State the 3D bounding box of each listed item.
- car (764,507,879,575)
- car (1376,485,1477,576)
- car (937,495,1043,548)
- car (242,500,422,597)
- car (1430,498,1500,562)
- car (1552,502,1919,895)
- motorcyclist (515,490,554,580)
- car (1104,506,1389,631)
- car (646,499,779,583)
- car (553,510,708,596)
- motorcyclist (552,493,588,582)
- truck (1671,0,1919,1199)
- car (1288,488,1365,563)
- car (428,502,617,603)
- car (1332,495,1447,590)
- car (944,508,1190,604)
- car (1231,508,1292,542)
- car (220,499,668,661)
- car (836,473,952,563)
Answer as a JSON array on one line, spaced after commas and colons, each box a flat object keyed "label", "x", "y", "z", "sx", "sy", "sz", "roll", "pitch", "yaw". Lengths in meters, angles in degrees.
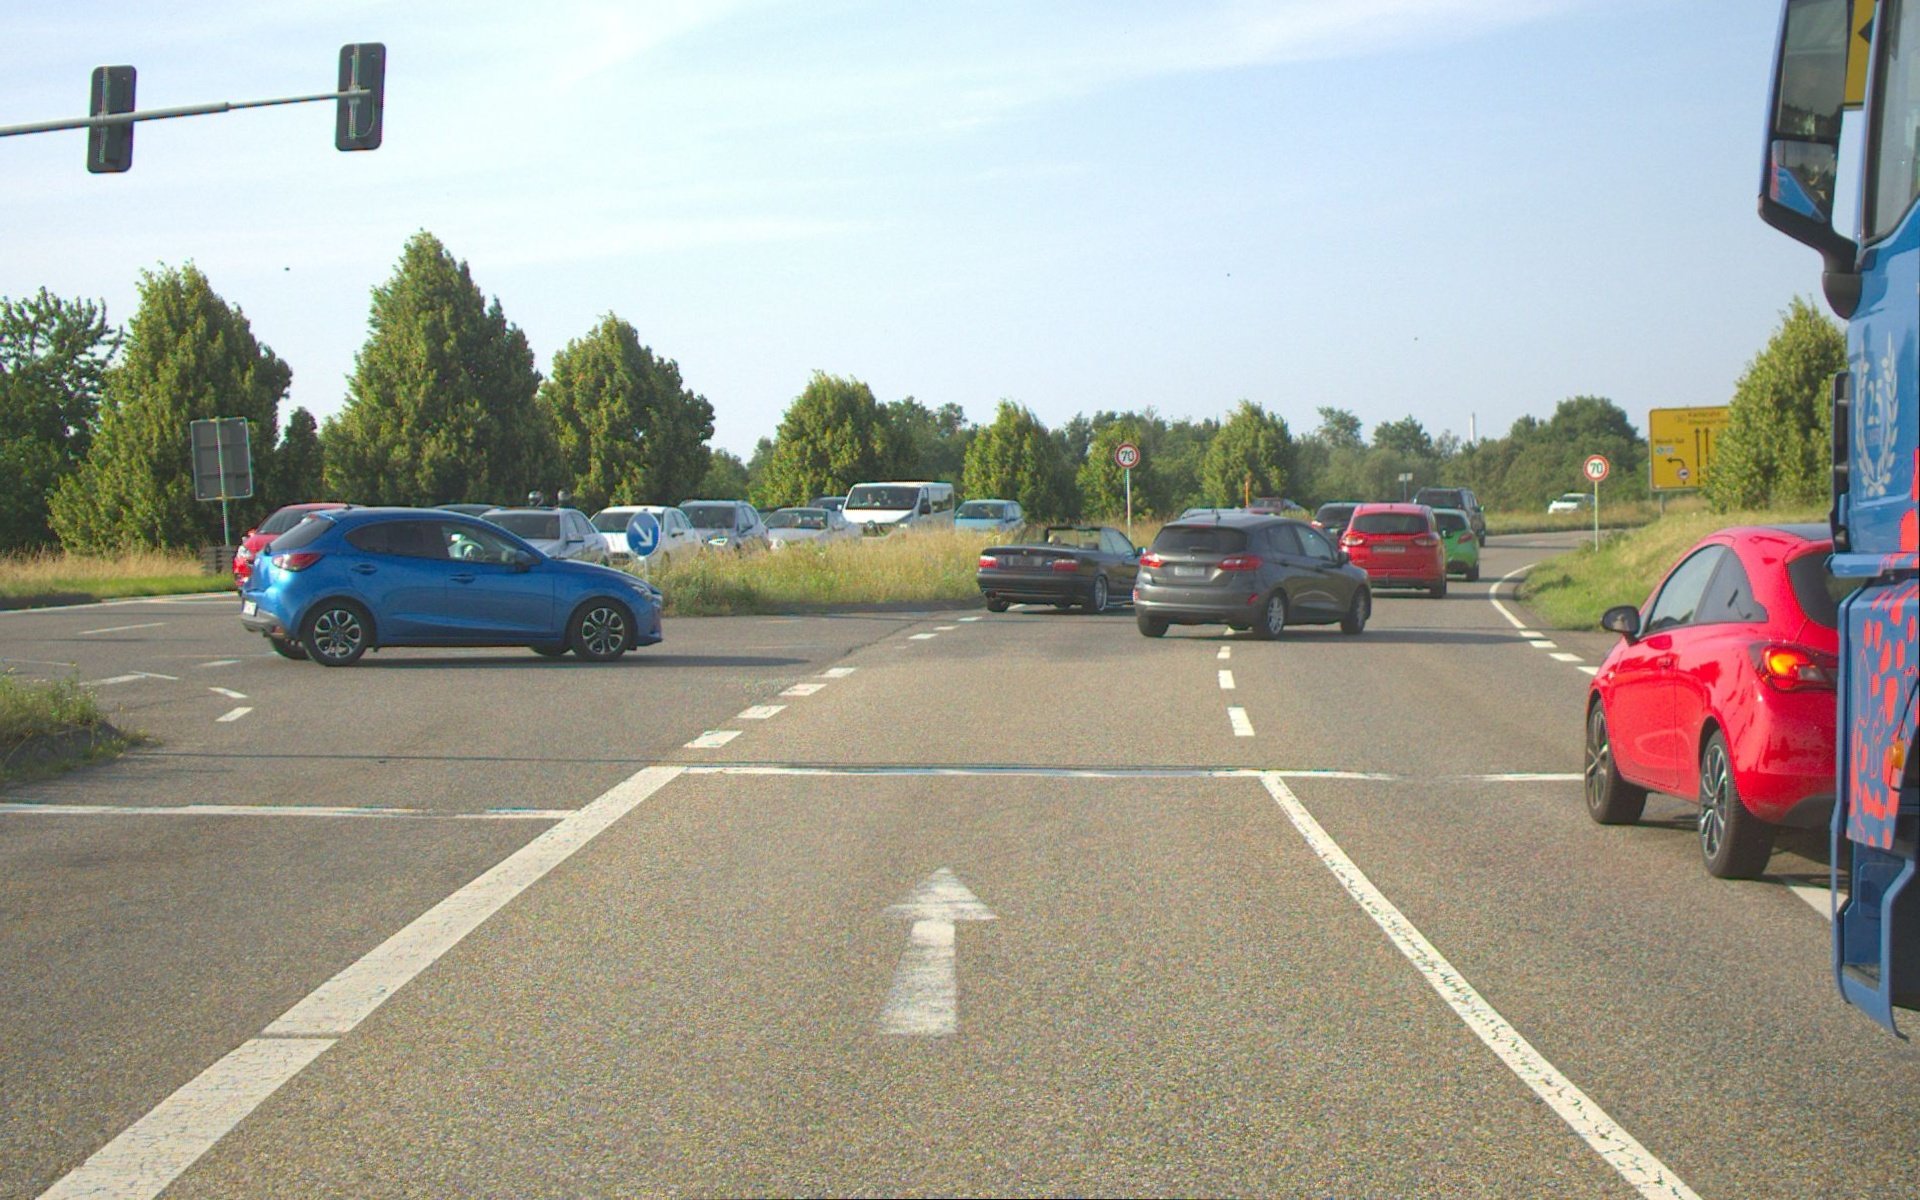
[{"label": "car", "x": -2.889, "y": -1.267, "z": 72.587, "sx": 1.786, "sy": 1.381, "sz": 4.050, "roll": -1, "pitch": 1, "yaw": 7}, {"label": "car", "x": 9.574, "y": -1.402, "z": 70.741, "sx": 1.909, "sy": 1.794, "sz": 4.277, "roll": 0, "pitch": 0, "yaw": 6}, {"label": "car", "x": 0.830, "y": -2.114, "z": 92.172, "sx": 1.787, "sy": 1.381, "sz": 4.048, "roll": 0, "pitch": 1, "yaw": 16}, {"label": "car", "x": -10.039, "y": -0.845, "z": 55.190, "sx": 1.721, "sy": 1.483, "sz": 3.803, "roll": -1, "pitch": 1, "yaw": 8}, {"label": "car", "x": 14.296, "y": -1.968, "z": 97.355, "sx": 1.909, "sy": 1.728, "sz": 4.276, "roll": 0, "pitch": 0, "yaw": 8}, {"label": "car", "x": 3.868, "y": 0.337, "z": 15.447, "sx": 1.696, "sy": 1.544, "sz": 3.751, "roll": -1, "pitch": 1, "yaw": -1}, {"label": "motorcyclist", "x": -8.256, "y": -1.267, "z": 66.757, "sx": 0.662, "sy": 1.741, "sz": 0.605, "roll": -1, "pitch": 1, "yaw": 0}, {"label": "car", "x": 3.453, "y": -0.361, "z": 40.908, "sx": 1.918, "sy": 1.411, "sz": 3.789, "roll": 0, "pitch": 0, "yaw": 31}, {"label": "car", "x": -4.750, "y": -1.162, "z": 66.489, "sx": 1.786, "sy": 1.563, "sz": 4.050, "roll": -1, "pitch": 1, "yaw": 7}, {"label": "car", "x": -5.722, "y": -0.845, "z": 60.209, "sx": 1.786, "sy": 1.428, "sz": 4.308, "roll": -1, "pitch": 1, "yaw": 7}, {"label": "motorcyclist", "x": -8.058, "y": -1.294, "z": 71.075, "sx": 0.662, "sy": 1.810, "sz": 0.605, "roll": -1, "pitch": 1, "yaw": 0}, {"label": "truck", "x": 3.657, "y": -0.895, "z": 6.452, "sx": 3.300, "sy": 4.641, "sz": 5.733, "roll": 0, "pitch": 1, "yaw": -1}, {"label": "car", "x": 9.714, "y": -1.969, "z": 91.399, "sx": 1.909, "sy": 1.909, "sz": 4.277, "roll": 0, "pitch": 0, "yaw": 5}, {"label": "car", "x": -6.689, "y": -0.761, "z": 53.086, "sx": 1.786, "sy": 1.483, "sz": 4.650, "roll": -1, "pitch": 1, "yaw": 7}, {"label": "car", "x": 7.402, "y": -0.962, "z": 59.180, "sx": 1.896, "sy": 1.559, "sz": 4.277, "roll": 0, "pitch": 0, "yaw": 7}, {"label": "car", "x": 1.588, "y": -0.610, "z": 49.390, "sx": 1.911, "sy": 1.318, "sz": 4.272, "roll": 0, "pitch": 0, "yaw": 27}, {"label": "car", "x": 12.698, "y": -3.167, "z": 144.558, "sx": 1.787, "sy": 1.381, "sz": 4.048, "roll": 0, "pitch": 1, "yaw": 16}, {"label": "car", "x": -4.981, "y": -0.227, "z": 33.152, "sx": 3.971, "sy": 1.487, "sz": 1.779, "roll": -1, "pitch": 2, "yaw": -21}, {"label": "car", "x": -1.547, "y": -1.950, "z": 81.839, "sx": 1.926, "sy": 2.071, "sz": 4.242, "roll": 0, "pitch": 1, "yaw": 10}]
